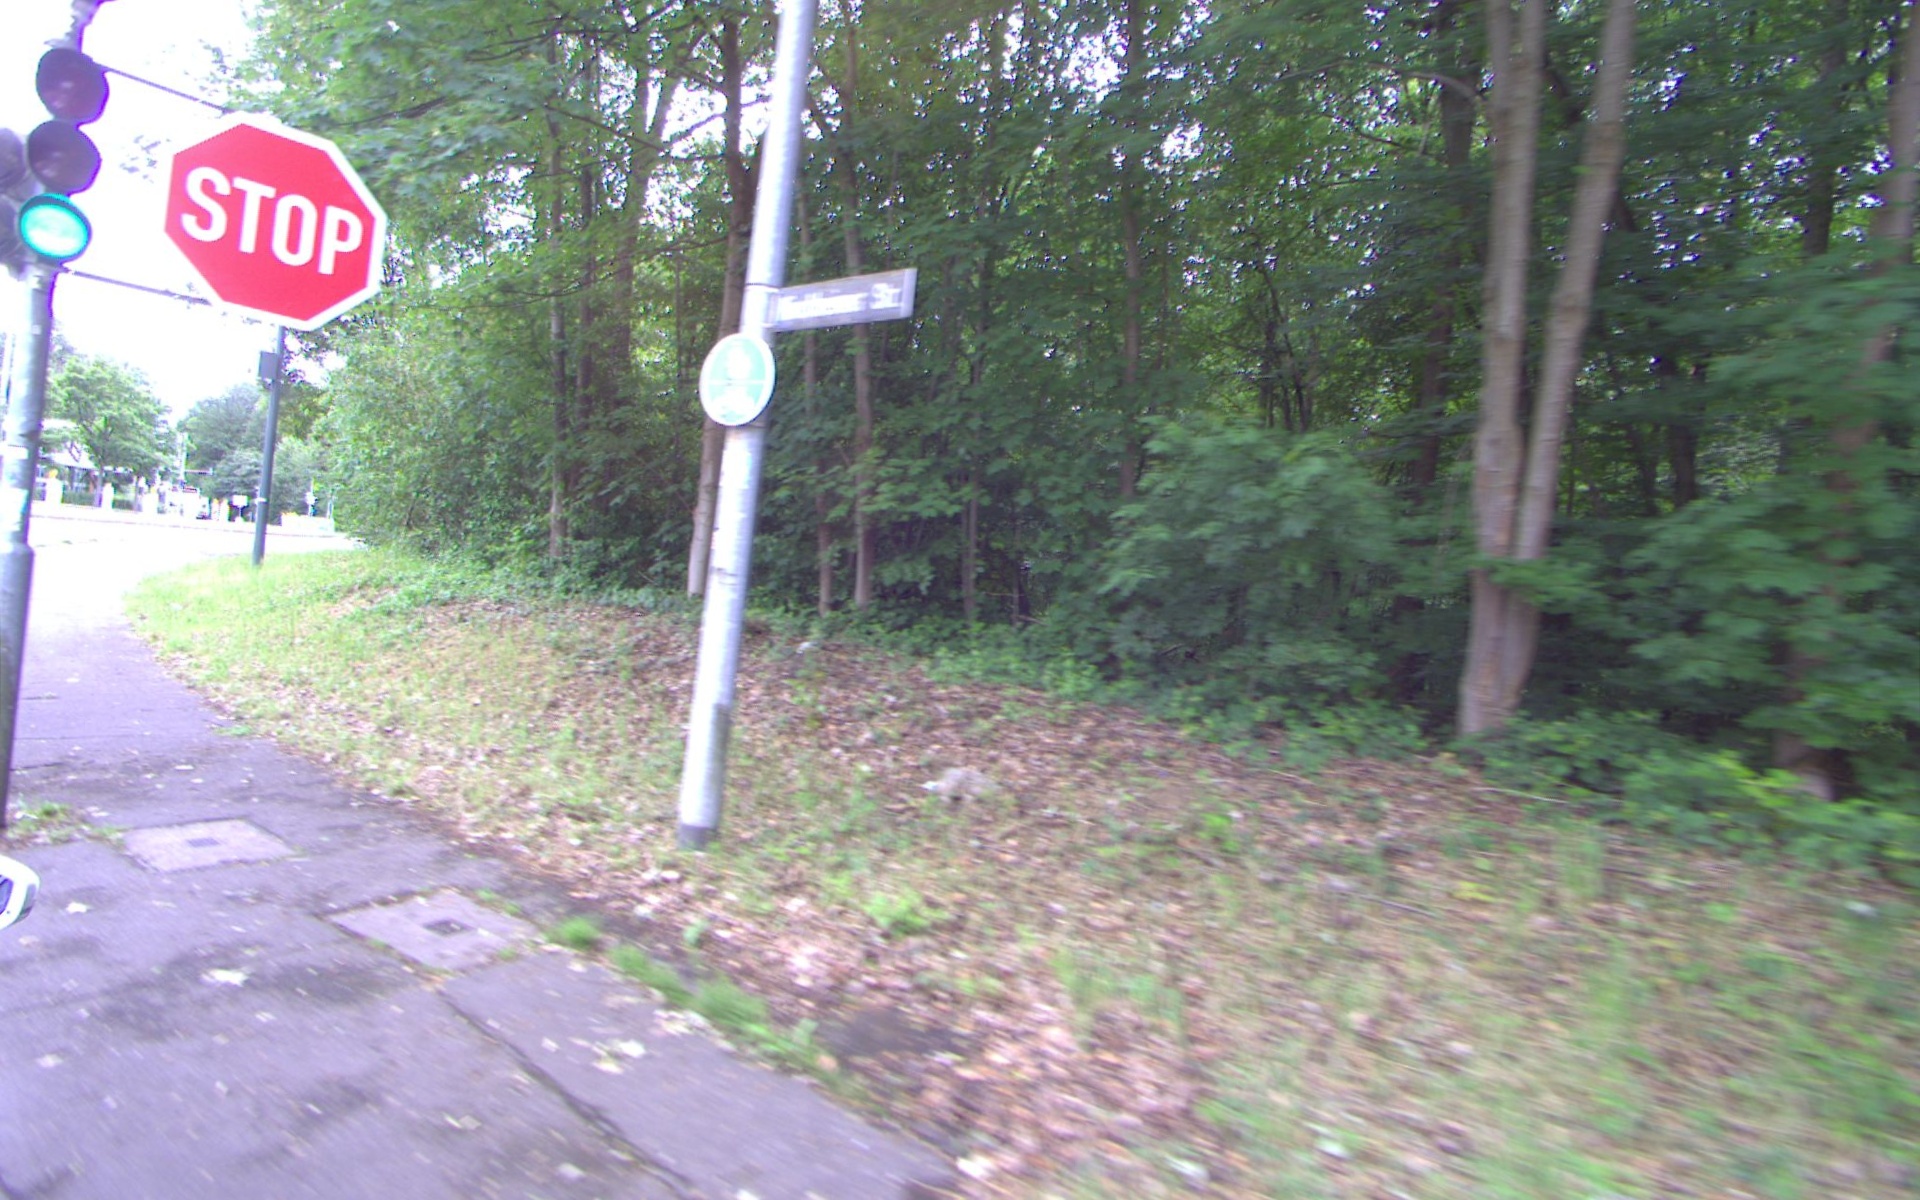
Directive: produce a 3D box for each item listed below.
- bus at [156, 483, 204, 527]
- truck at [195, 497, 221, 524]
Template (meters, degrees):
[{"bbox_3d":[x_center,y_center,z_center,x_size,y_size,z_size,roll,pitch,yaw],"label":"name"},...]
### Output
[{"bbox_3d":[-76.850,-9.432,98.999,2.811,3.648,12.652,7,1,-41],"label":"bus"},{"bbox_3d":[-105.366,-12.565,140.895,2.471,3.328,8.428,6,1,-38],"label":"truck"}]
